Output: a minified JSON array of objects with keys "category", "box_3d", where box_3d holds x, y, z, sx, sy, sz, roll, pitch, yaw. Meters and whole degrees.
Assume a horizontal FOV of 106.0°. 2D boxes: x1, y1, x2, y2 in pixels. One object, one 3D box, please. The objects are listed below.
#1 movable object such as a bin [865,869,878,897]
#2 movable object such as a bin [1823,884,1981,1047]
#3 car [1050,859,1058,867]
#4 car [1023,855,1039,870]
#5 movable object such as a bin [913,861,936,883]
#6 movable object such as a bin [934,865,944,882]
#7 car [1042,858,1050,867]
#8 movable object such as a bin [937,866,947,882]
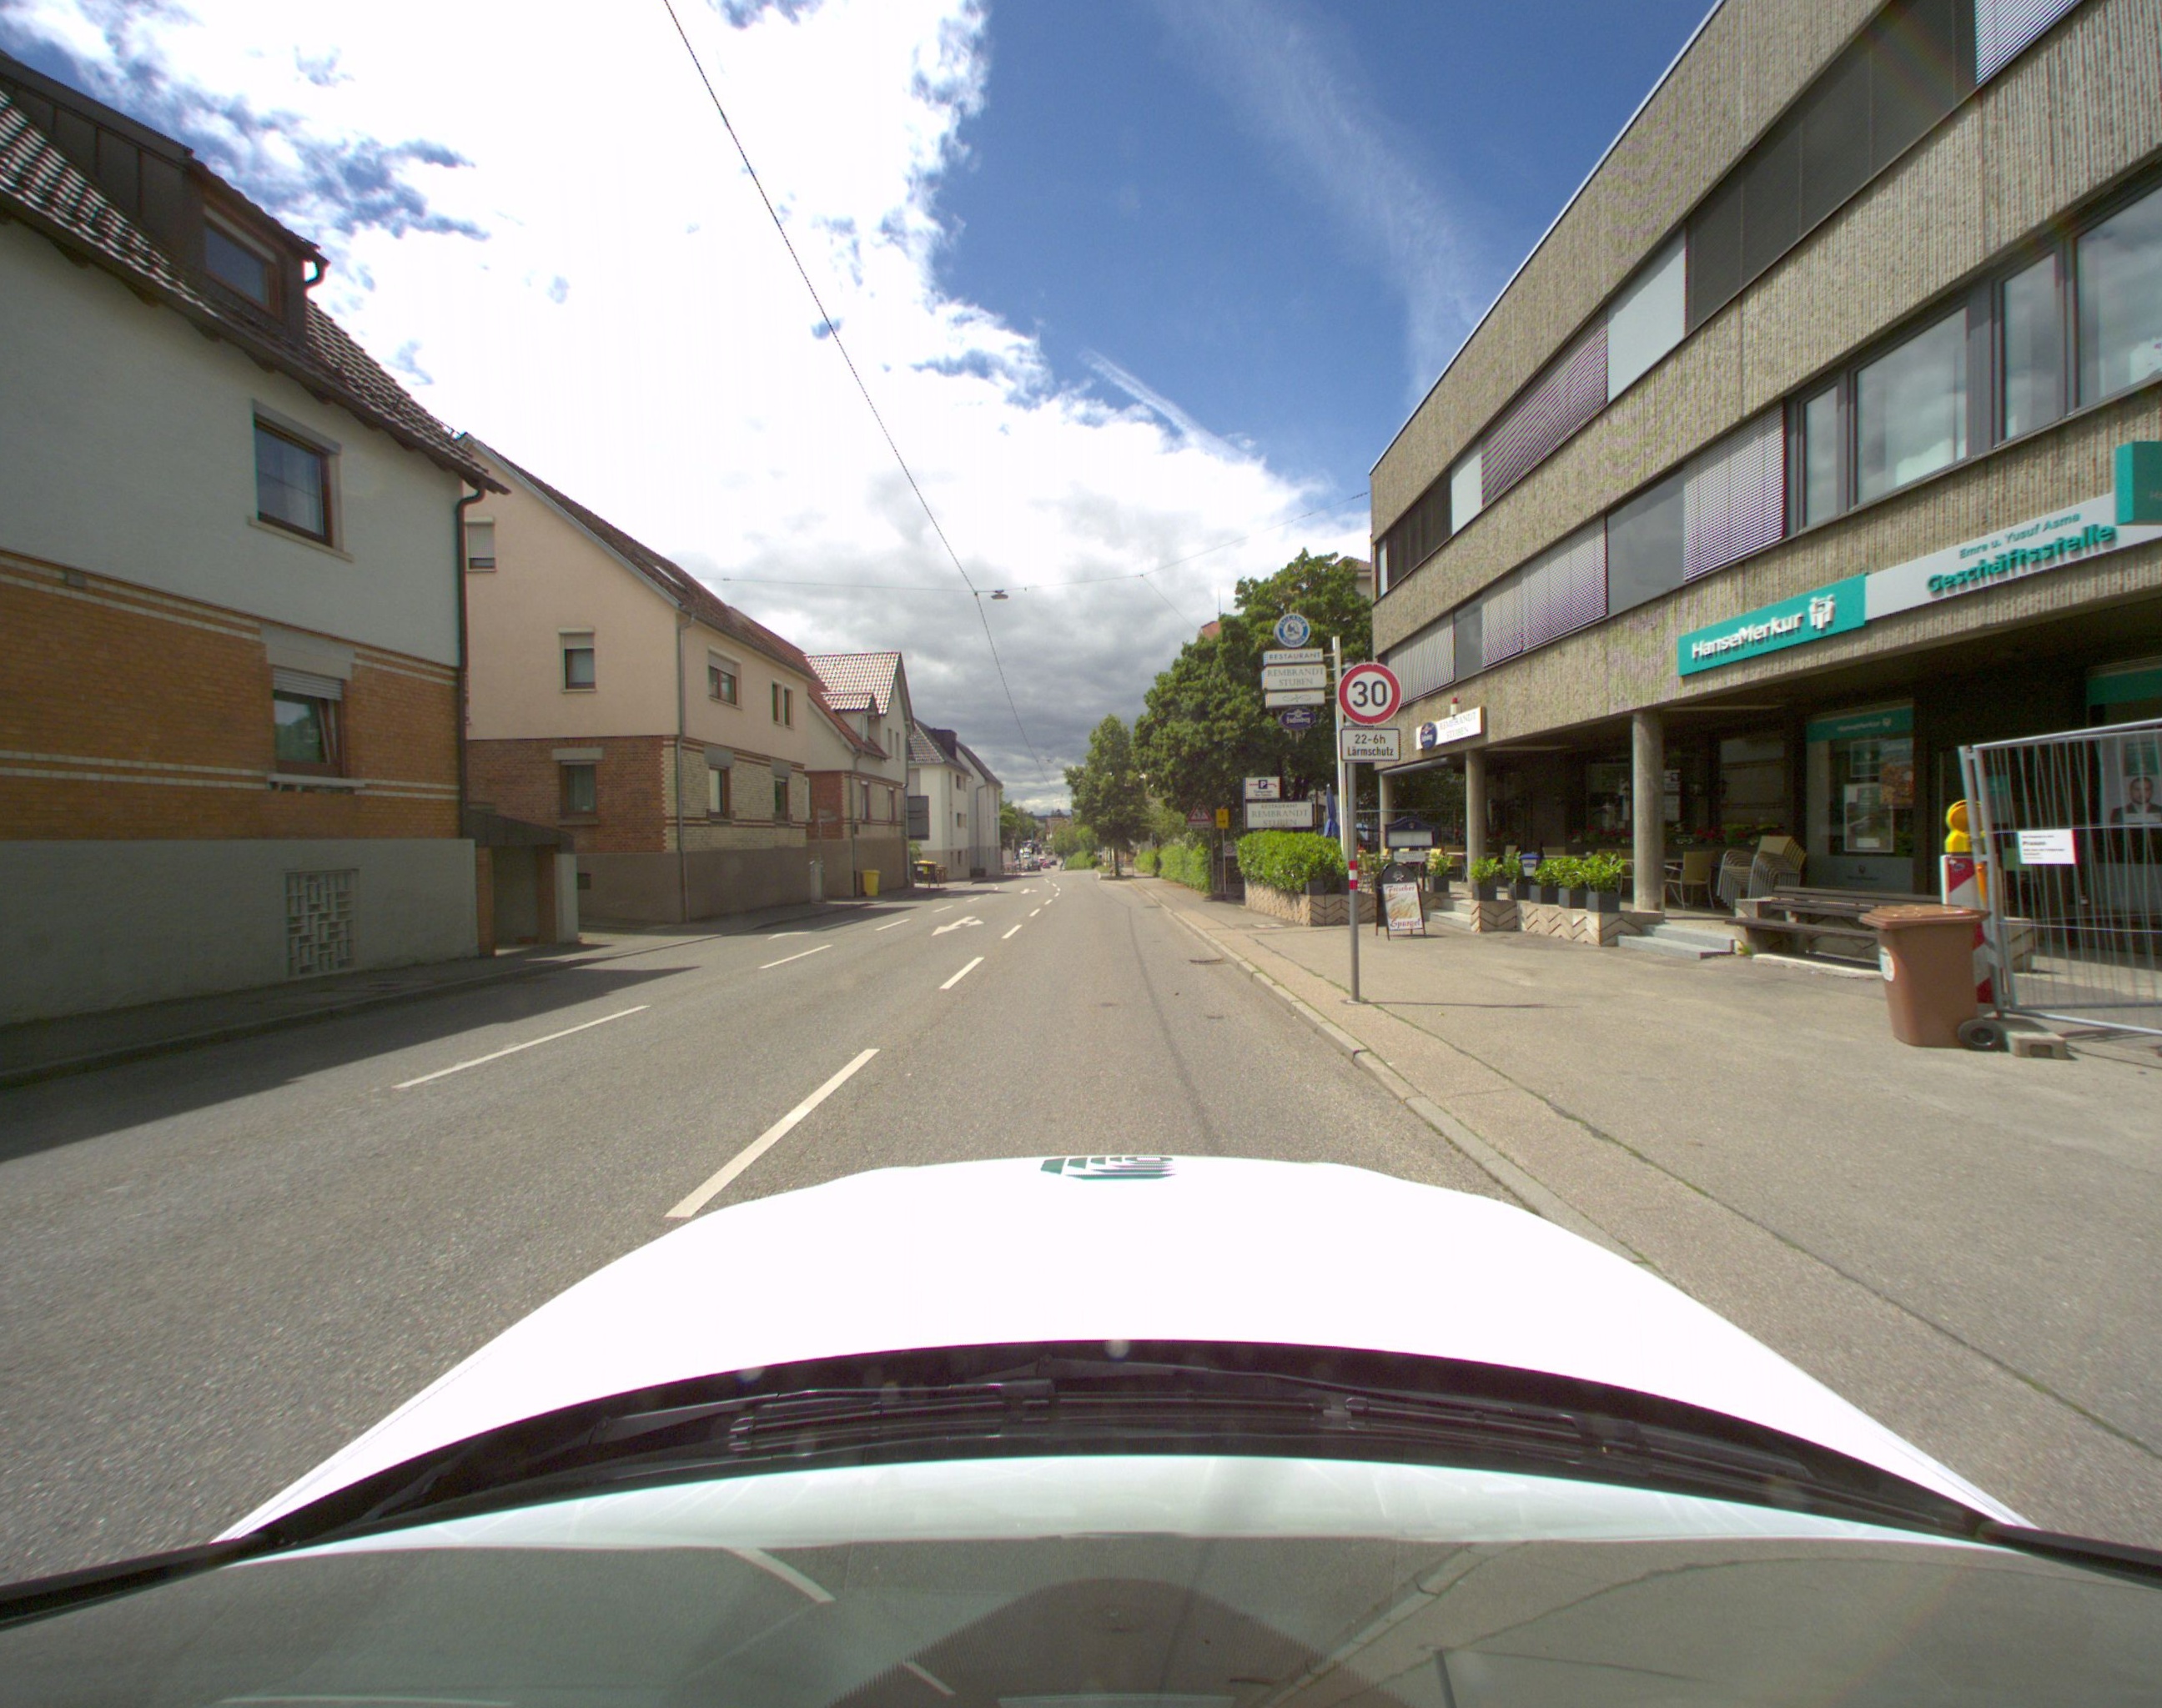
[{"category":"movable object such as a bin","box_3d":[-8.648,1.185,33.652,0.430,1.128,0.299,-2,0,-1]},{"category":"movable object such as a bin","box_3d":[5.740,0.747,5.736,0.597,1.026,0.683,-2,0,30]},{"category":"car","box_3d":[-7.357,2.531,219.446,1.989,2.014,3.995,-2,-1,-3]},{"category":"car","box_3d":[-7.198,1.218,116.339,1.992,2.014,3.989,-1,0,-8]},{"category":"movable object such as a bin","box_3d":[-9.540,1.103,49.709,1.279,1.310,0.815,-1,0,-5]},{"category":"movable object such as a bin","box_3d":[-8.862,1.228,50.786,0.530,1.030,0.455,-1,0,-1]},{"category":"car","box_3d":[-8.692,2.173,203.584,1.989,2.014,3.995,-2,-1,-3]},{"category":"movable object such as a bin","box_3d":[-8.778,1.272,51.451,0.530,1.030,0.455,-1,0,-1]}]
